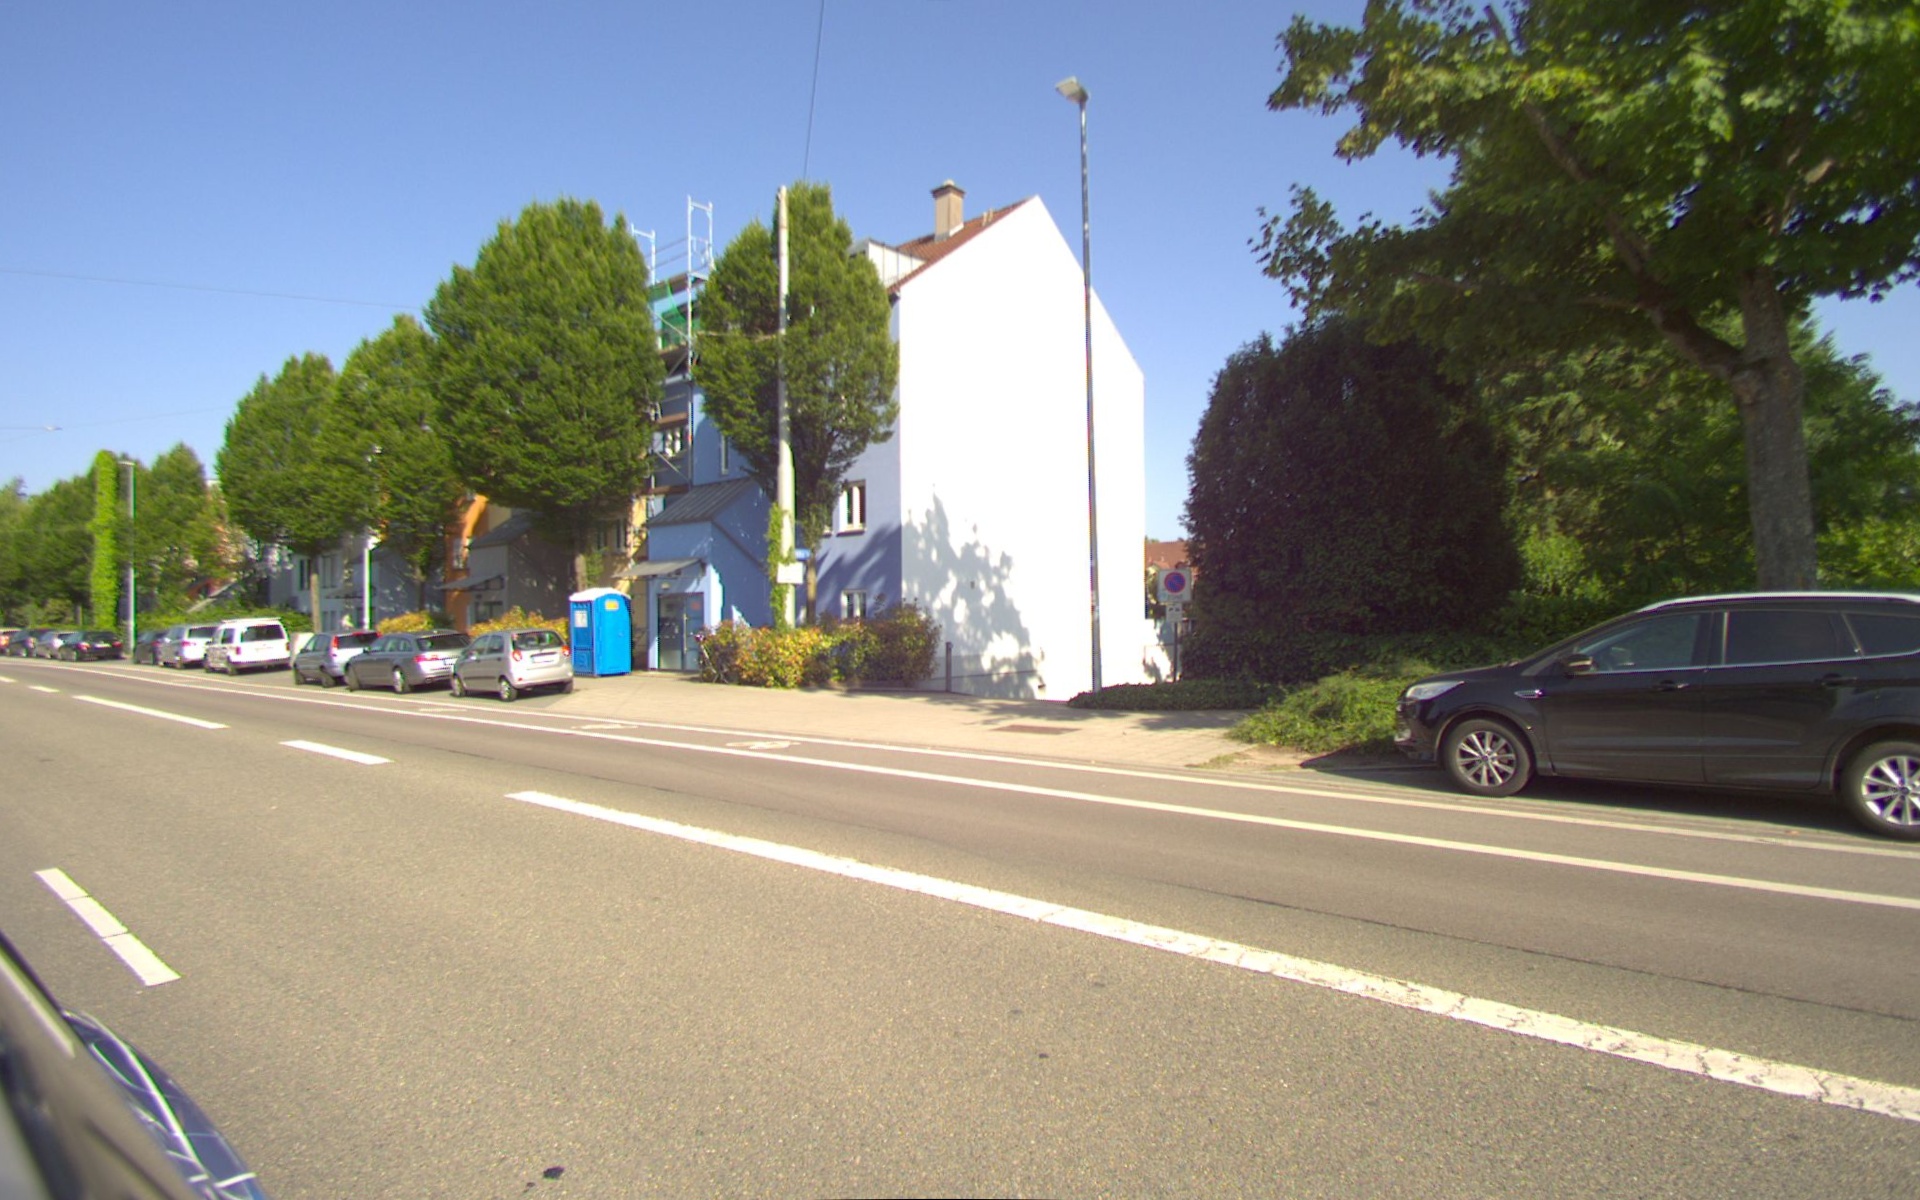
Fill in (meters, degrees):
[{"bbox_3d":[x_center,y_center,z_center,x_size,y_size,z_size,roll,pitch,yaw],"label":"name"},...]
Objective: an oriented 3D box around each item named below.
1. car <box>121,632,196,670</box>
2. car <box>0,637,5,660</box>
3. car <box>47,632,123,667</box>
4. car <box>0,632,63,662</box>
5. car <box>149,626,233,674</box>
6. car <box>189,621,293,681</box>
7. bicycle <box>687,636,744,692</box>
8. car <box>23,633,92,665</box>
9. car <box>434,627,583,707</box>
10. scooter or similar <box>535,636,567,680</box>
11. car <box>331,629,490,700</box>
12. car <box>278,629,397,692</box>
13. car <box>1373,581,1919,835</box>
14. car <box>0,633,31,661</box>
[{"bbox_3d":[-34.330,2.139,43.319,4.053,1.477,1.600,-2,0,39],"label":"car"},{"bbox_3d":[-61.548,3.049,63.270,4.700,1.435,1.638,-2,-2,34],"label":"car"},{"bbox_3d":[-43.380,2.425,50.140,4.901,1.556,1.849,-2,1,37],"label":"car"},{"bbox_3d":[-52.377,2.630,56.855,4.420,1.586,1.750,-1,0,31],"label":"car"},{"bbox_3d":[-30.271,1.934,39.785,4.821,1.713,1.651,-2,0,41],"label":"car"},{"bbox_3d":[-25.478,1.756,35.824,4.575,1.859,1.746,-2,3,39],"label":"car"},{"bbox_3d":[-5.474,1.413,22.582,0.438,1.163,1.786,1,-1,-42],"label":"bicycle"},{"bbox_3d":[-47.987,2.580,53.787,4.834,1.482,1.697,-1,1,35],"label":"car"},{"bbox_3d":[-10.092,1.434,22.537,3.506,1.505,1.585,-2,3,40],"label":"car"},{"bbox_3d":[-10.860,1.529,26.855,1.041,1.162,0.291,-2,-2,37],"label":"scooter or similar"},{"bbox_3d":[-14.024,1.579,25.710,4.749,1.522,1.733,-2,3,38],"label":"car"},{"bbox_3d":[-17.923,1.679,29.078,3.979,1.550,1.745,-2,3,41],"label":"car"},{"bbox_3d":[5.967,0.762,8.335,4.420,1.707,1.694,-2,-2,41],"label":"car"},{"bbox_3d":[-57.132,2.798,60.304,4.151,1.586,1.748,-1,-1,34],"label":"car"}]
